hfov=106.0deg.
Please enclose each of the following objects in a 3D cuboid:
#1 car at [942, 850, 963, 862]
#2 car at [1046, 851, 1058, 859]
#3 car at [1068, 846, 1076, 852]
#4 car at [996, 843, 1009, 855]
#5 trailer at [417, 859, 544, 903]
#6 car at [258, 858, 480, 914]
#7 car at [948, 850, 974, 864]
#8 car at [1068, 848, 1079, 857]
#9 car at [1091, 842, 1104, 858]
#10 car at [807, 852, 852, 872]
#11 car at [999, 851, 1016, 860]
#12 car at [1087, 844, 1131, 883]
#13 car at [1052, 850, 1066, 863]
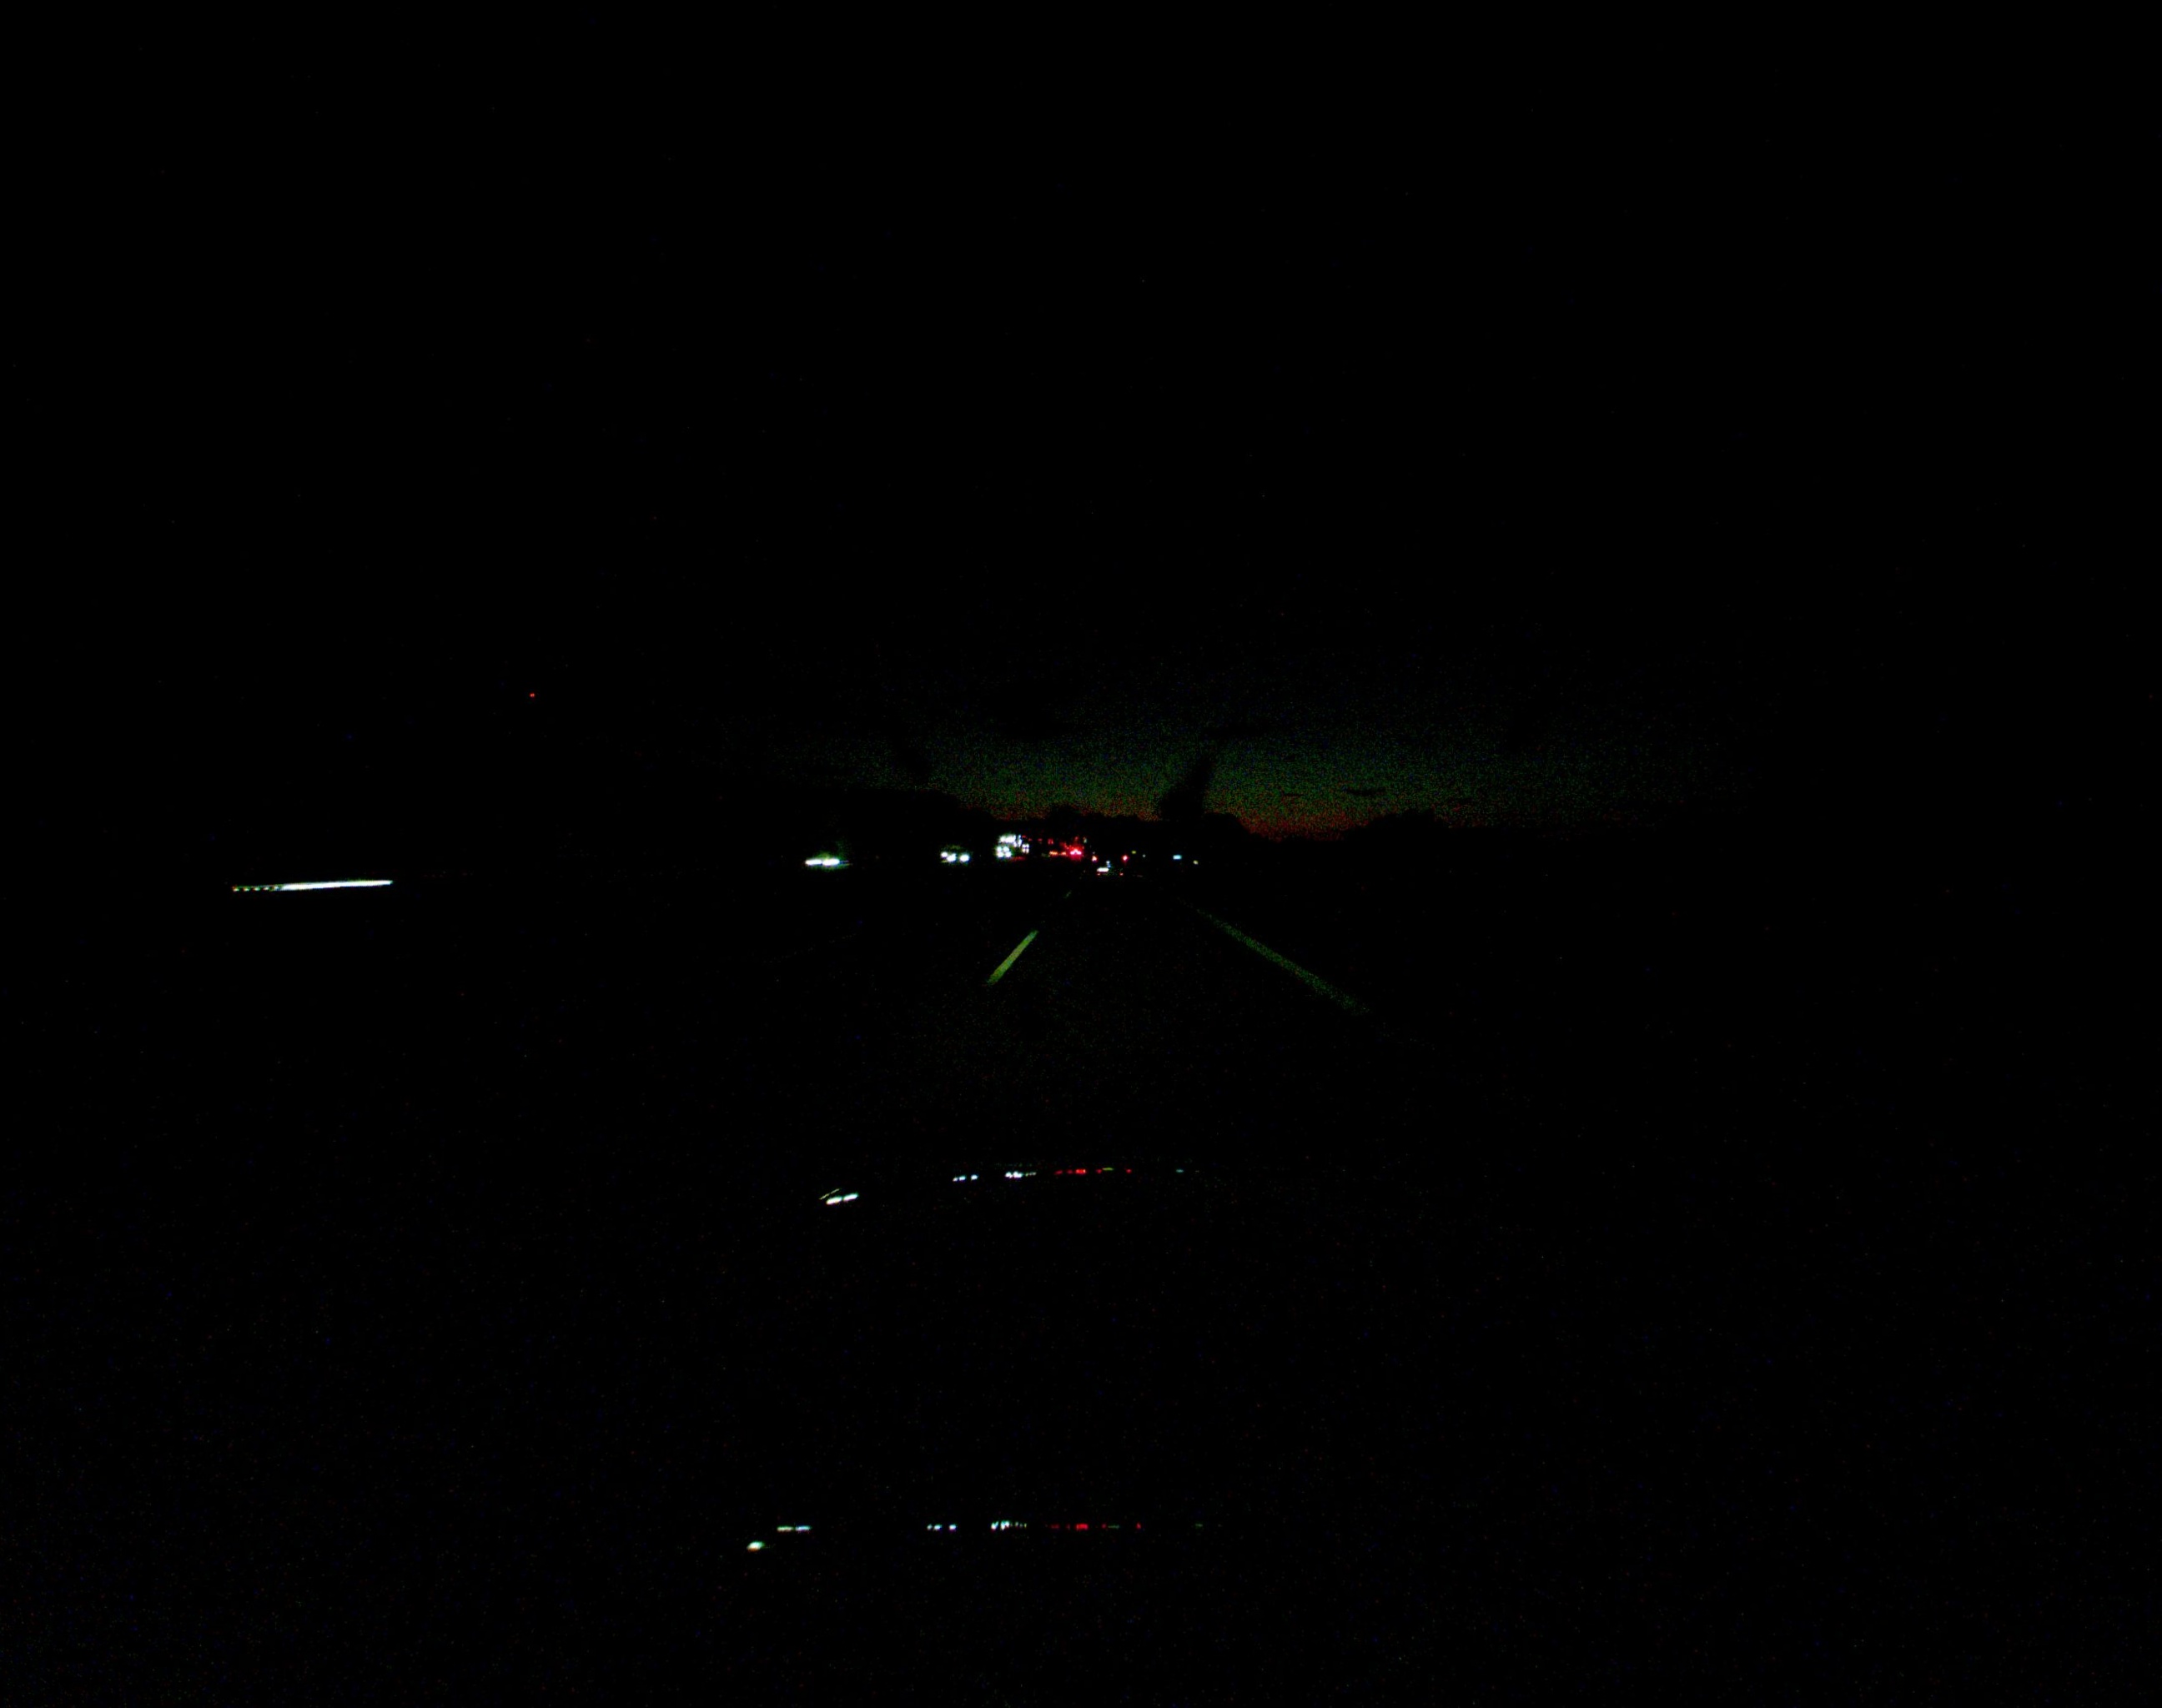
[{"bbox_3d":[-19.781,0.268,125.544,2.046,1.781,5.942,0,0,1],"label":"car"},{"bbox_3d":[-5.589,0.188,158.405,2.164,1.667,4.886,0,0,0],"label":"car"},{"bbox_3d":[-2.725,-1.522,242.537,1.985,1.794,4.004,-1,0,4],"label":"car"},{"bbox_3d":[-21.864,-1.446,226.218,2.642,3.085,8.217,0,1,1],"label":"car"},{"bbox_3d":[-21.602,0.930,29.453,2.176,1.481,3.130,0,0,1],"label":"trailer"},{"bbox_3d":[-21.717,0.909,25.249,2.175,1.481,5.244,0,0,1],"label":"car"},{"bbox_3d":[-13.698,0.276,92.892,2.111,1.555,5.110,0,0,1],"label":"car"},{"bbox_3d":[-1.407,-0.263,159.776,1.987,1.794,4.000,-1,0,0],"label":"car"},{"bbox_3d":[2.848,-0.712,137.033,2.024,2.646,5.729,-1,1,2],"label":"car"},{"bbox_3d":[-20.926,0.654,68.056,2.111,1.555,5.110,0,0,1],"label":"car"},{"bbox_3d":[-13.154,0.286,145.908,2.550,1.555,5.110,0,0,1],"label":"car"},{"bbox_3d":[1.517,0.449,46.168,2.110,2.000,5.661,-1,1,-2],"label":"car"},{"bbox_3d":[-3.312,0.353,121.558,1.988,1.816,3.998,-1,0,-1],"label":"car"}]
